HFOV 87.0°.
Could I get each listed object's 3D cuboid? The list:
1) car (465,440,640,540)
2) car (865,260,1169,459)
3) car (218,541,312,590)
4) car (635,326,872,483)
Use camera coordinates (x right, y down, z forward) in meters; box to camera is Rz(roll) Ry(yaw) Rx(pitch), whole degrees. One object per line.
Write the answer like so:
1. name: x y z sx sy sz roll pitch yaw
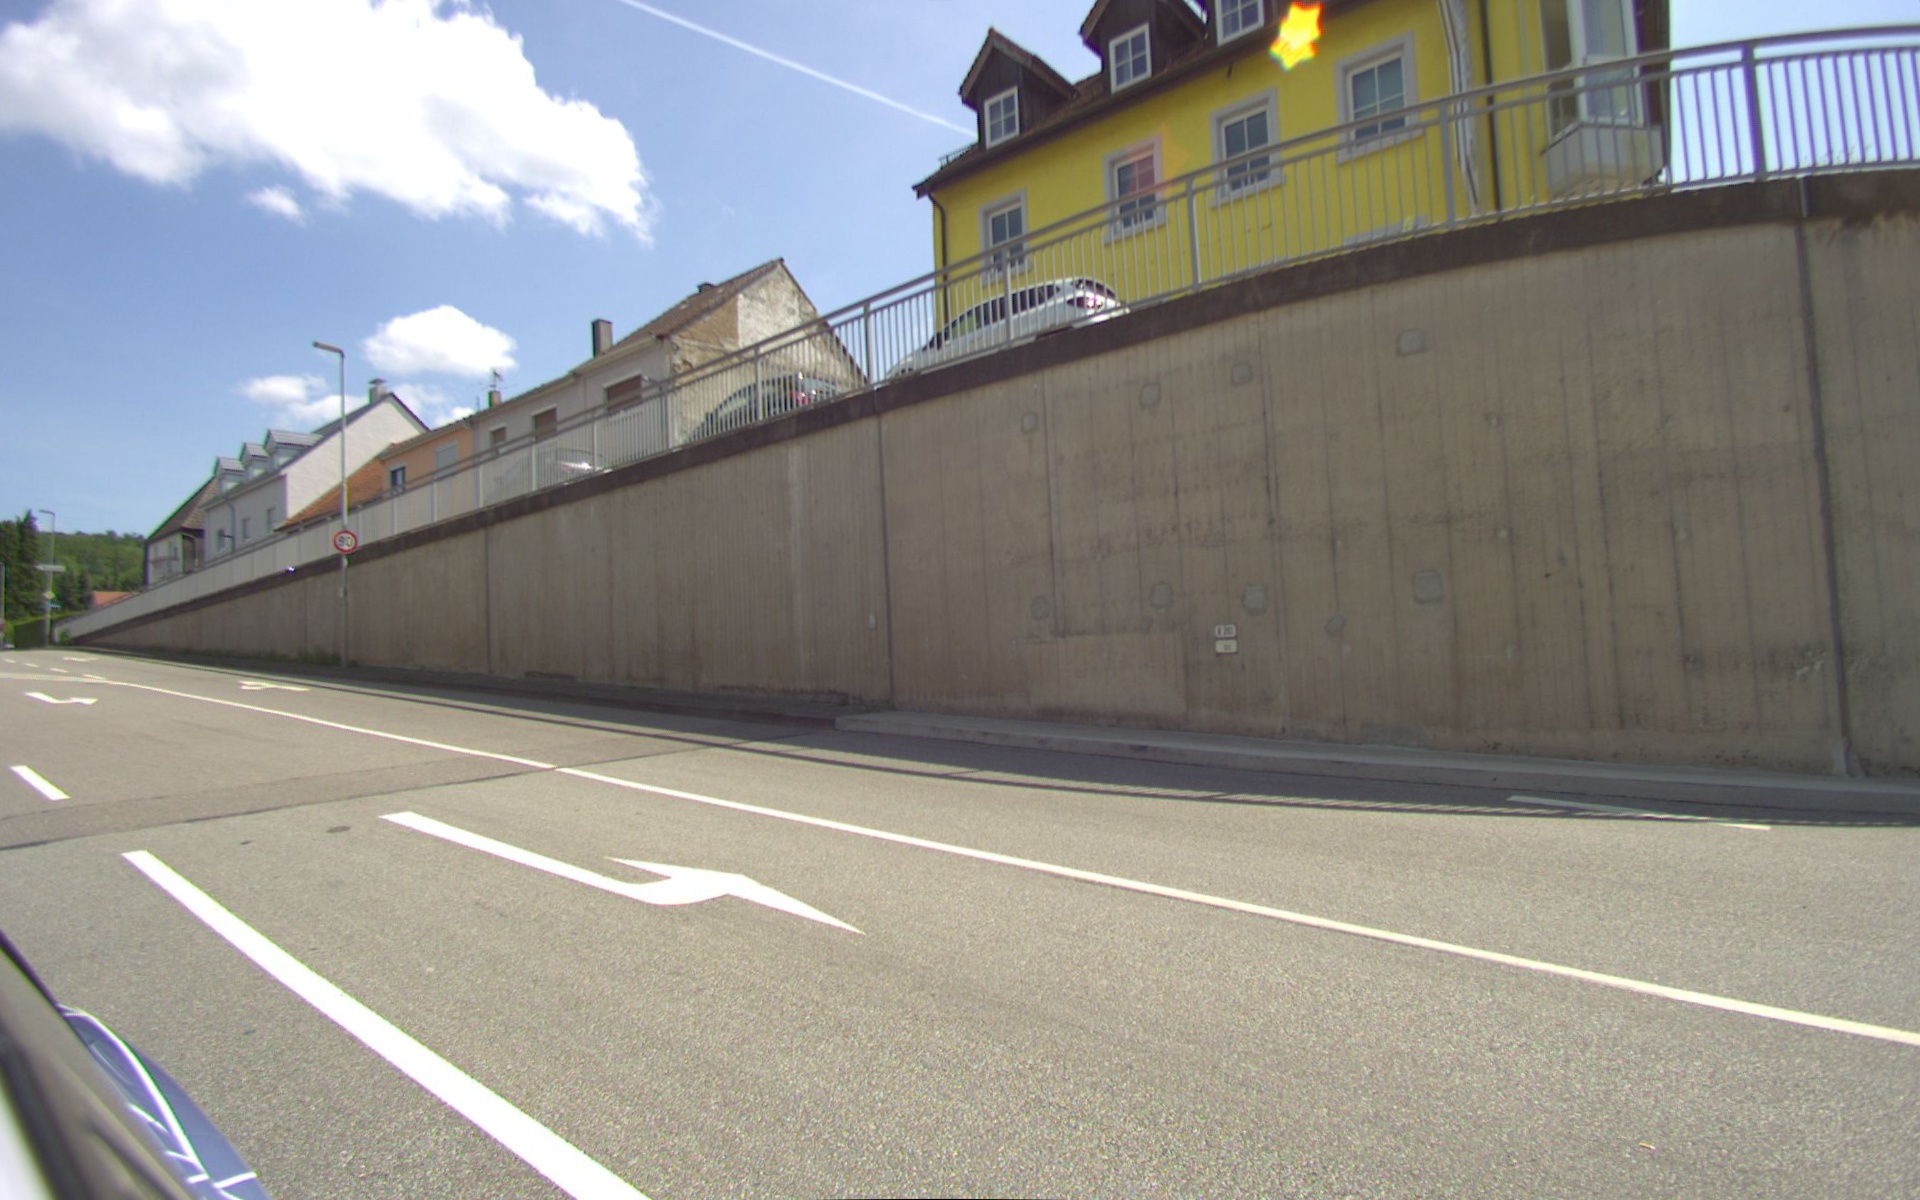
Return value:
1. car: -9.289 -2.385 22.904 4.388 1.536 1.780 -4 -3 39
2. car: 0.732 -3.267 14.560 3.996 1.681 1.883 -4 -3 40
3. car: -25.895 -1.222 37.663 4.388 1.416 1.768 -4 -3 39
4. car: -3.715 -3.293 17.830 4.218 1.718 1.804 -4 -3 39
